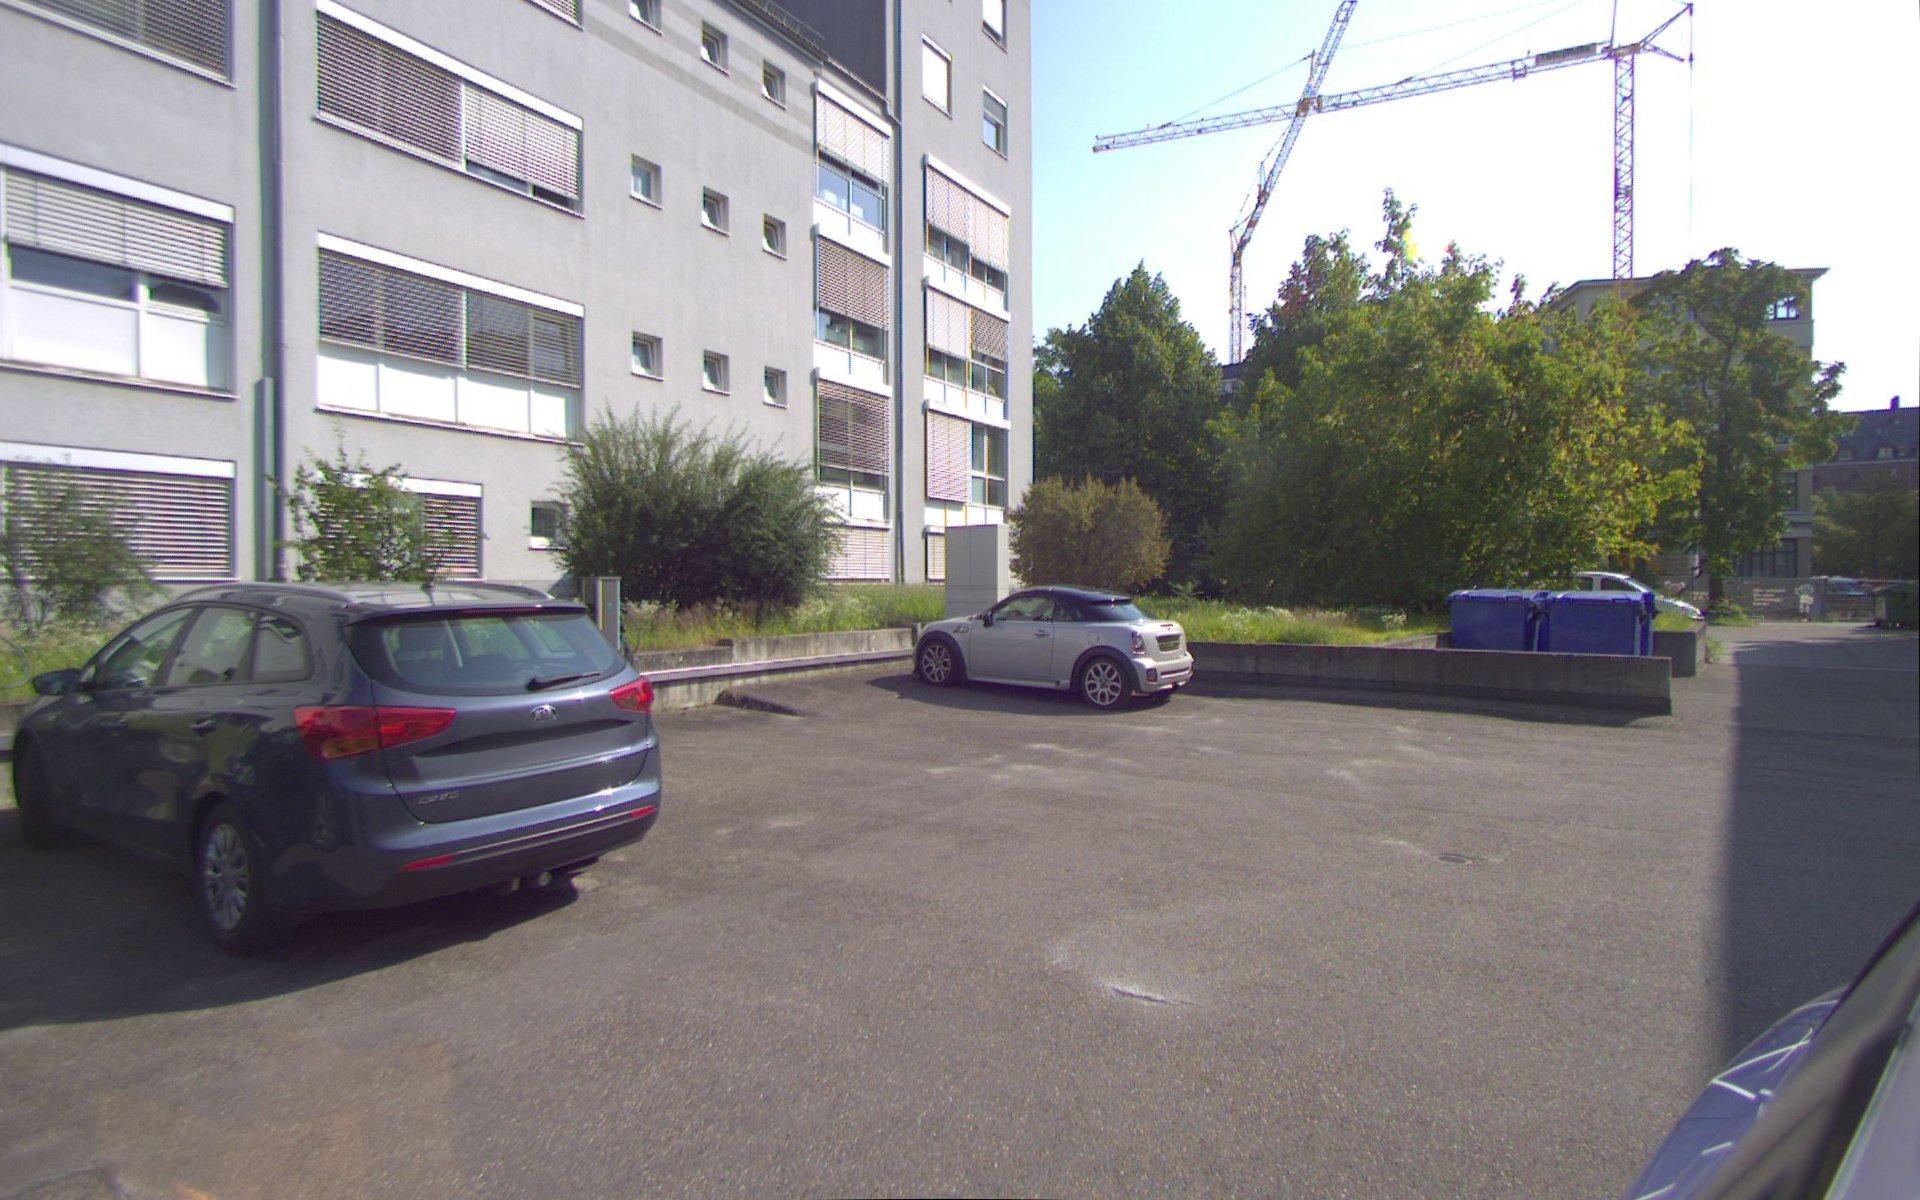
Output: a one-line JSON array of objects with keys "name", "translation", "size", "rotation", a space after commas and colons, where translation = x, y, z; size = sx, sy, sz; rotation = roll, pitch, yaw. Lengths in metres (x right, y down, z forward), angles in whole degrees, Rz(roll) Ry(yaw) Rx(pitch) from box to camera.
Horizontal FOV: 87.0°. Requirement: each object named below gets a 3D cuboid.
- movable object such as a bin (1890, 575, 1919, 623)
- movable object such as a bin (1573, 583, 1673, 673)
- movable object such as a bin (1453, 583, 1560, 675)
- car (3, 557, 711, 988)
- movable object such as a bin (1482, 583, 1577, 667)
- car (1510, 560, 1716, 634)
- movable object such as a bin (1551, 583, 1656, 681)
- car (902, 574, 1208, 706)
[{"name": "movable object such as a bin", "translation": [30.163, -0.039, 31.647], "size": [1.518, 1.484, 1.257], "rotation": [0, 0, 39]}, {"name": "movable object such as a bin", "translation": [10.512, 0.411, 16.033], "size": [1.195, 1.344, 1.257], "rotation": [0, 0, 40]}, {"name": "movable object such as a bin", "translation": [8.492, 0.411, 15.730], "size": [1.252, 1.344, 1.257], "rotation": [0, 0, 40]}, {"name": "car", "translation": [-3.355, 0.569, 5.380], "size": [4.032, 1.496, 1.721], "rotation": [1, 1, 34]}, {"name": "movable object such as a bin", "translation": [9.550, 0.390, 16.963], "size": [1.195, 1.344, 1.257], "rotation": [0, 0, 40]}, {"name": "car", "translation": [18.648, -0.114, 29.036], "size": [4.774, 1.956, 1.880], "rotation": [1, 1, 41]}, {"name": "movable object such as a bin", "translation": [9.479, 0.433, 14.899], "size": [1.207, 1.368, 1.258], "rotation": [0, 0, 37]}, {"name": "car", "translation": [1.152, 0.411, 12.861], "size": [3.560, 1.455, 1.637], "rotation": [1, 1, 36]}]
